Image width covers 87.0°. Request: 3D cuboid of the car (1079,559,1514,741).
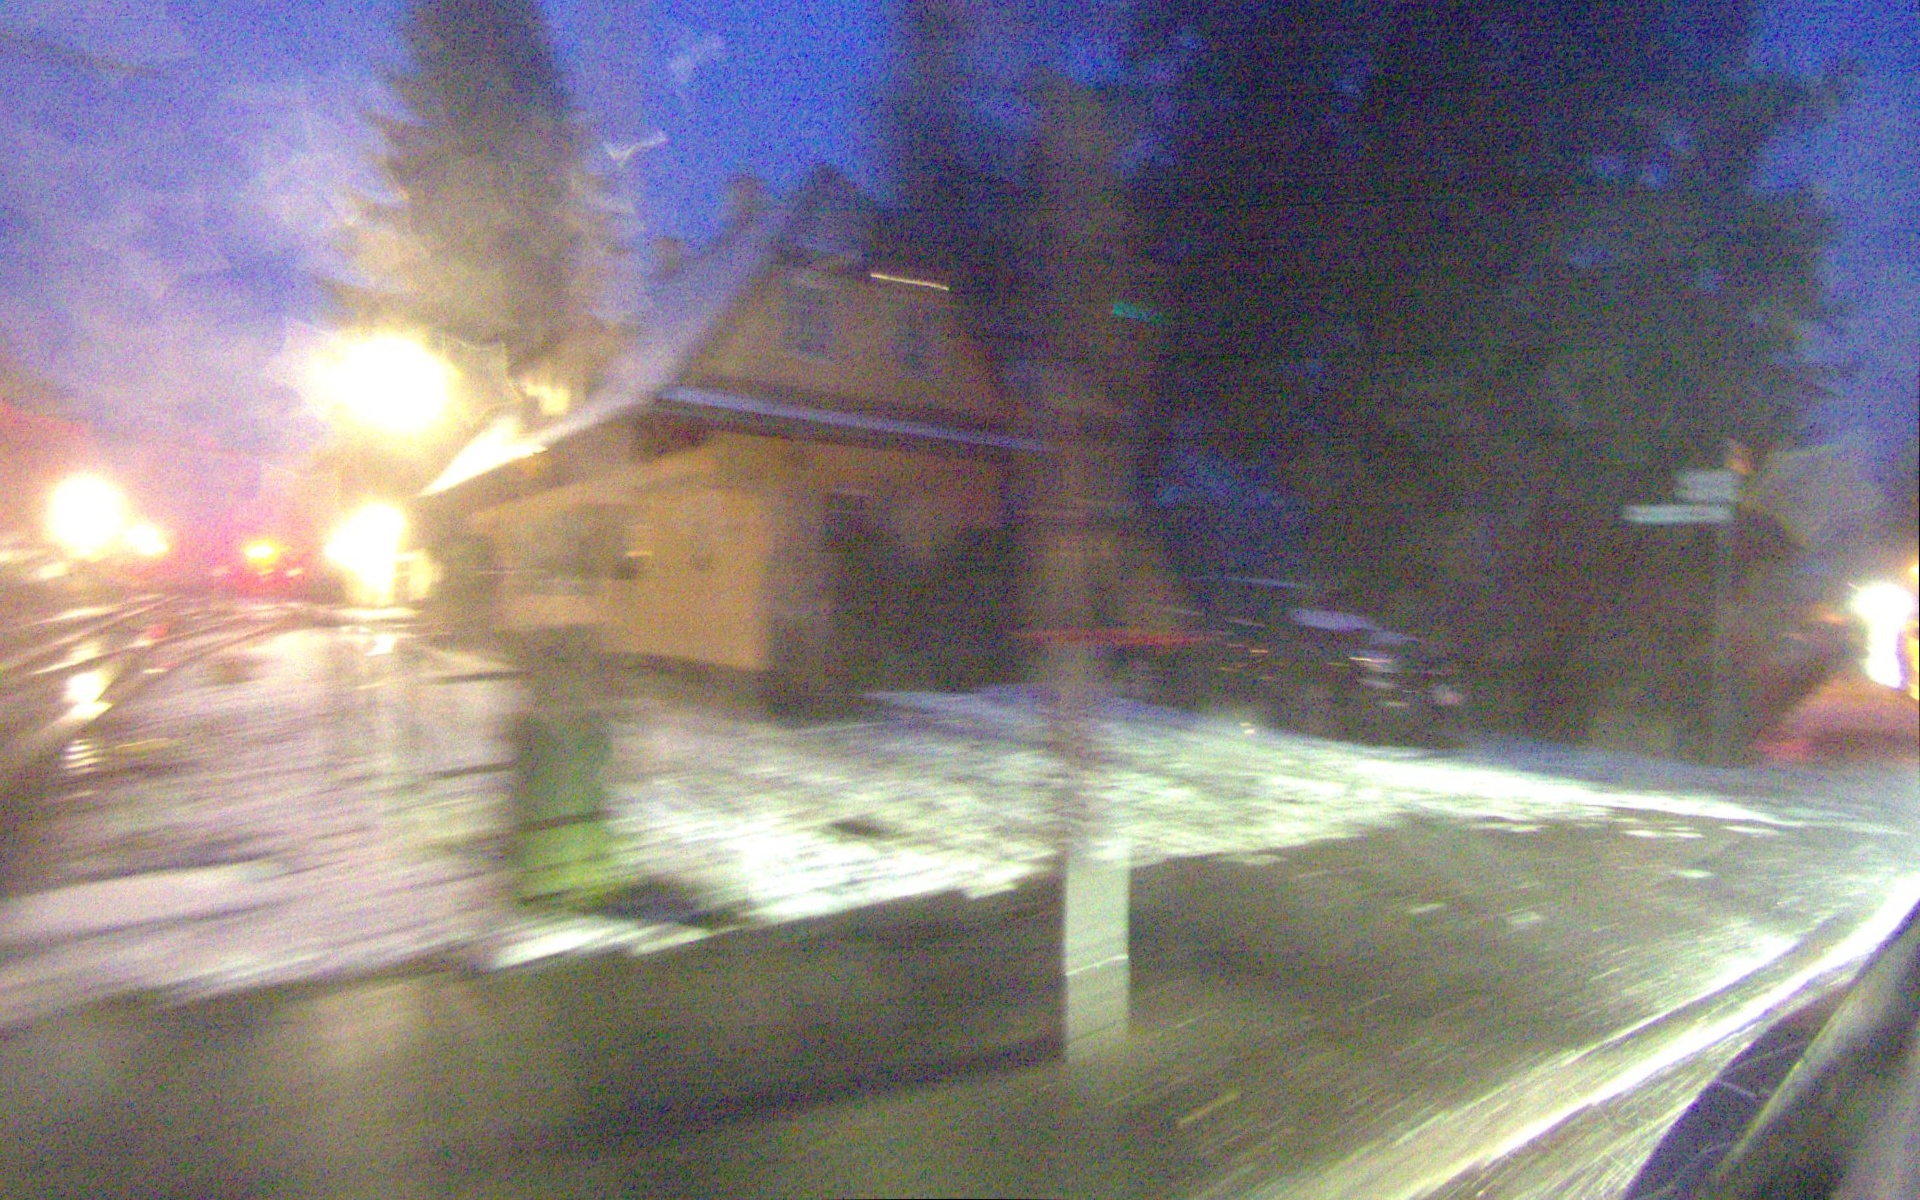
[{"bbox_3d":[3.657,0.432,11.803,1.903,1.606,4.482,3,1,-37],"label":"car"}]
